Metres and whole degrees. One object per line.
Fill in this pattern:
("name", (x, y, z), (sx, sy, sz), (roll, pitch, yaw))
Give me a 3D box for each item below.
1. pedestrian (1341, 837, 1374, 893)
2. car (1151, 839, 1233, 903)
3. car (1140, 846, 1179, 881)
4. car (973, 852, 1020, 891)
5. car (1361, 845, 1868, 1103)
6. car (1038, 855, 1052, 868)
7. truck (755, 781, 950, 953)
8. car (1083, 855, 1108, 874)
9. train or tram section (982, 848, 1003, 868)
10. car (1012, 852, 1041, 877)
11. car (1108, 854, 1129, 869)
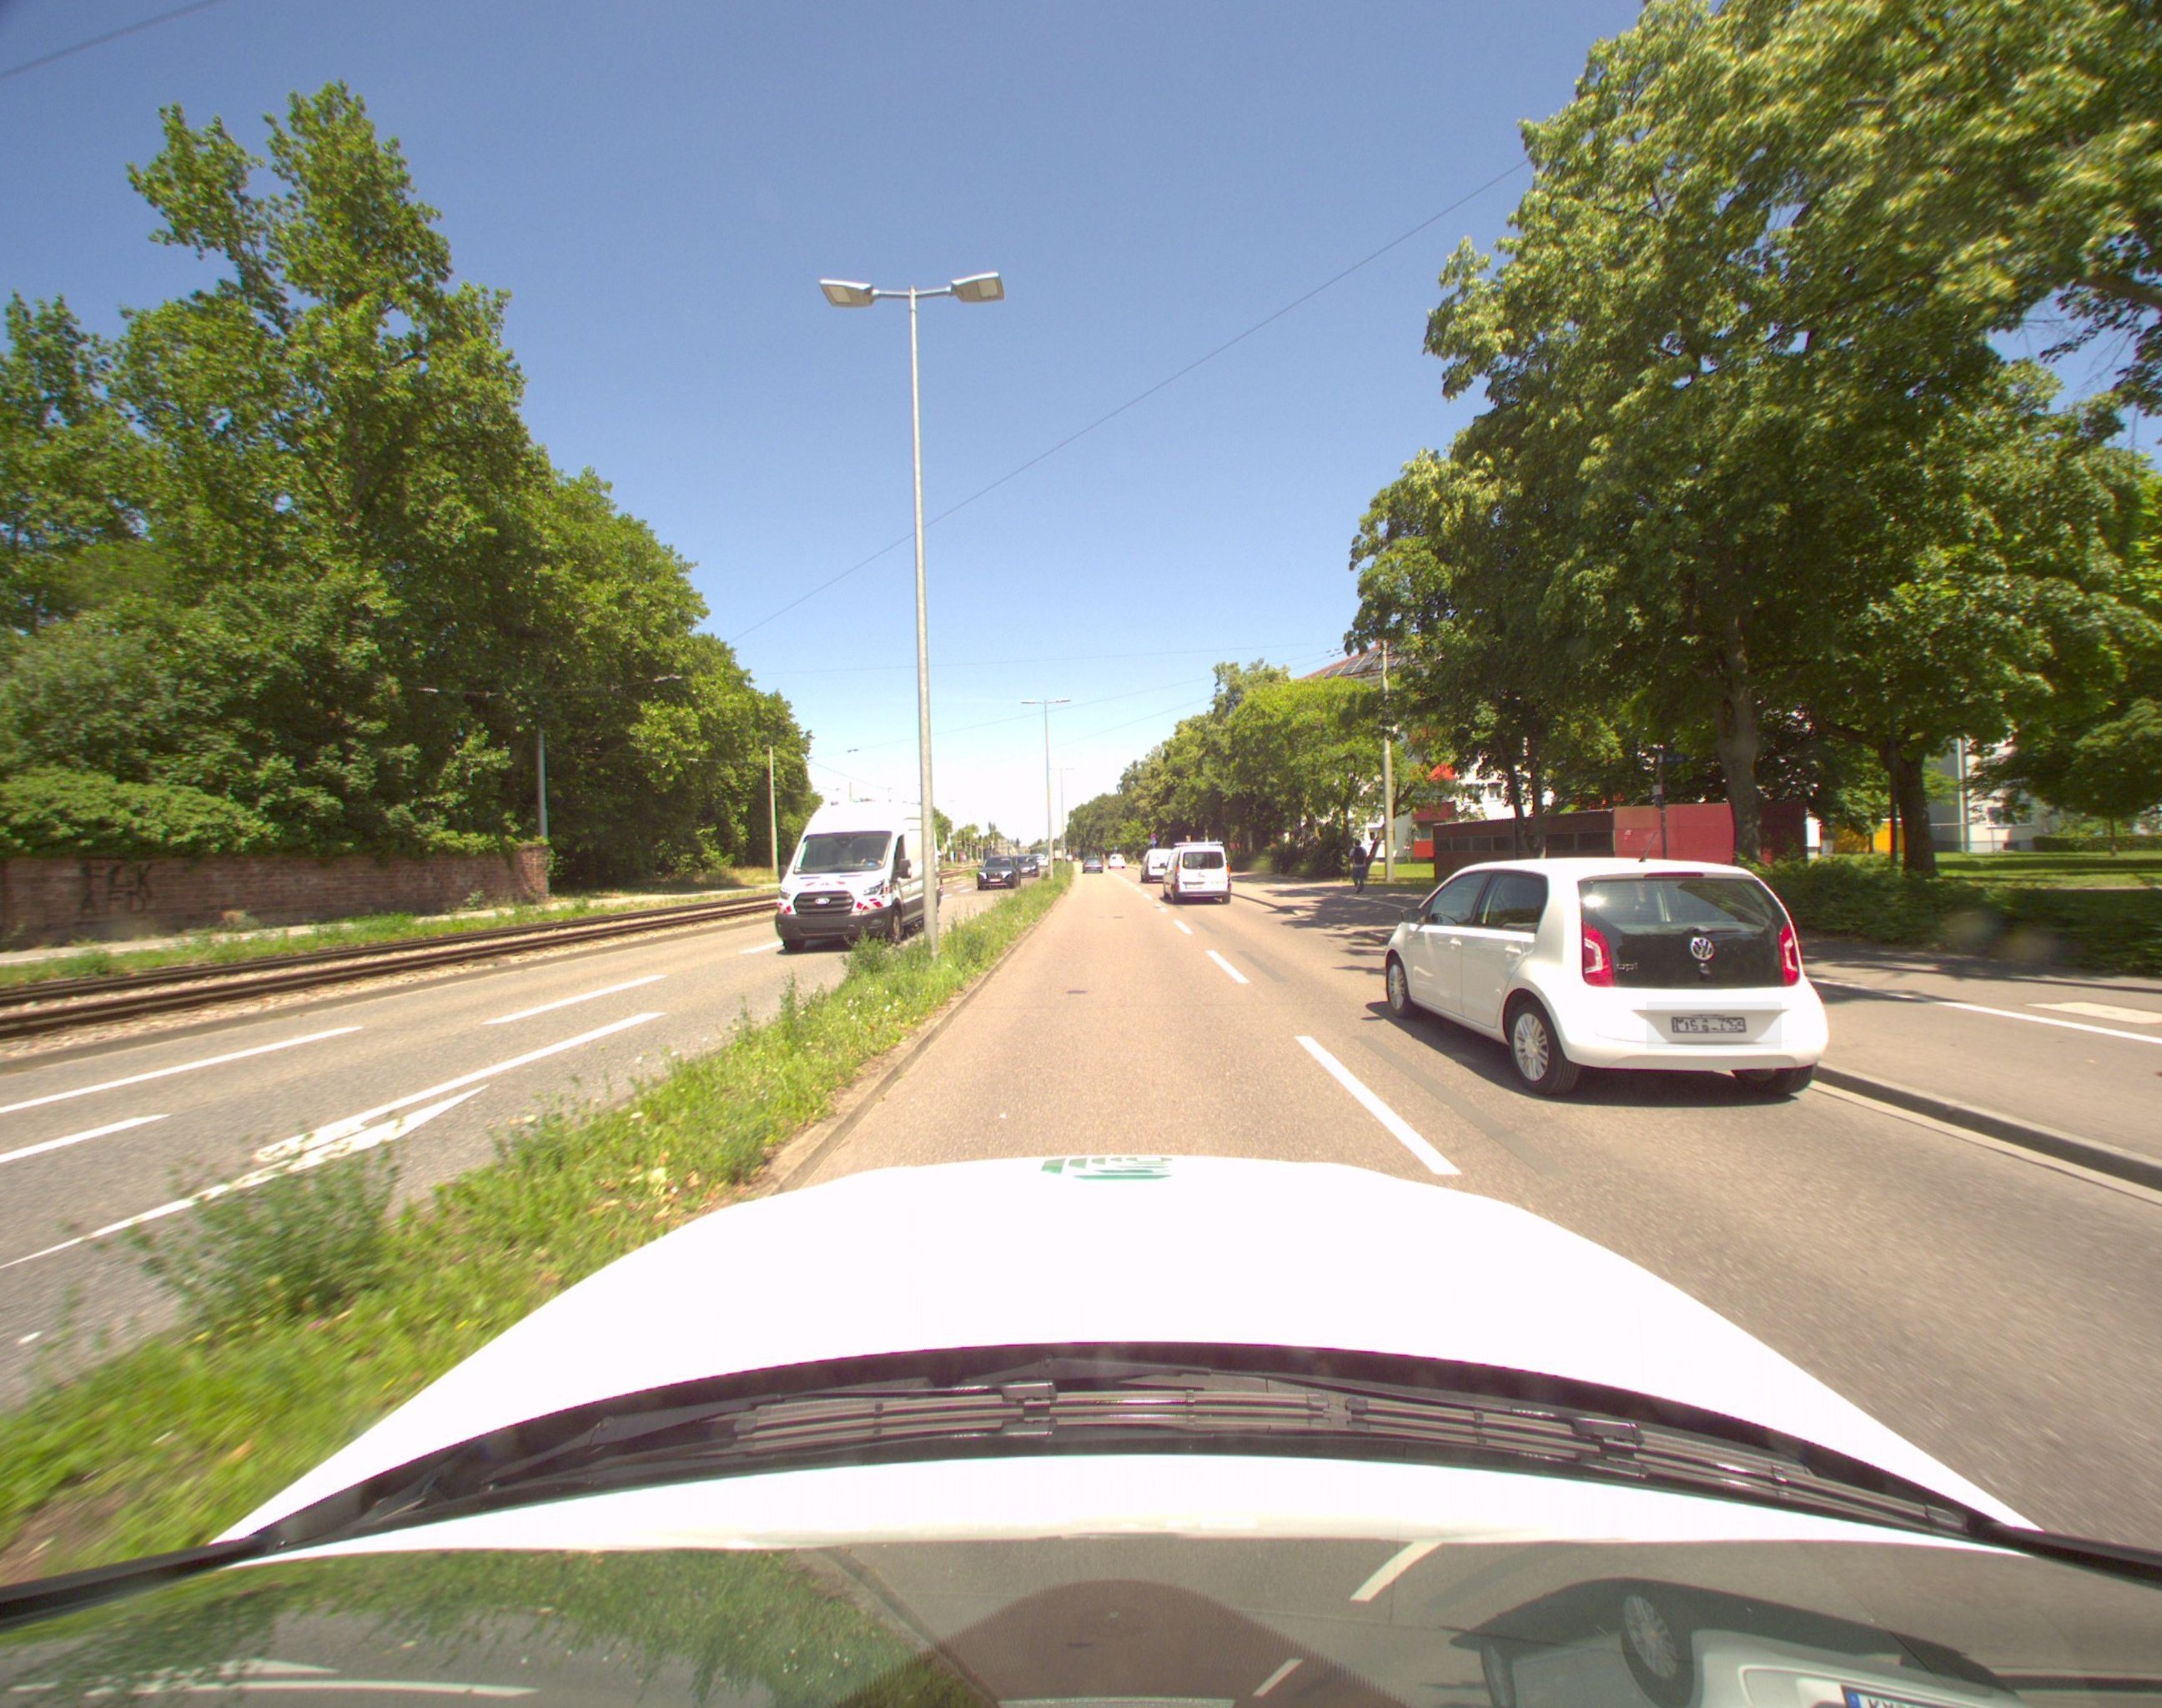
("pedestrian", (8.348, 0.322, 24.607), (0.666, 1.644, 0.856), (-1, -1, 0))
("car", (3.451, 0.506, 26.137), (1.820, 1.882, 4.451), (-1, 0, -3))
("car", (4.168, 0.485, 43.826), (1.722, 1.814, 4.000), (-1, 0, 1))
("car", (-4.144, 0.823, 40.697), (1.823, 1.756, 4.487), (-3, 0, 0))
("car", (3.673, 0.688, 6.537), (1.652, 1.449, 3.856), (-1, 0, 2))
("car", (-5.250, 1.104, 119.913), (1.824, 1.738, 4.038), (-3, 0, 0))
("truck", (-4.246, 0.209, 16.290), (2.074, 2.748, 5.548), (-3, 0, 1))
("car", (1.152, 0.885, 68.557), (1.798, 1.486, 3.995), (-1, 0, -3))
("train or tram section", (-18.270, 0.799, 170.510), (2.782, 3.668, 37.465), (-1, 0, -4))
("car", (-4.081, 0.768, 61.702), (1.823, 1.713, 4.792), (-3, 0, 0))
("car", (4.069, 0.836, 88.922), (1.799, 1.540, 3.995), (-1, 0, -3))
